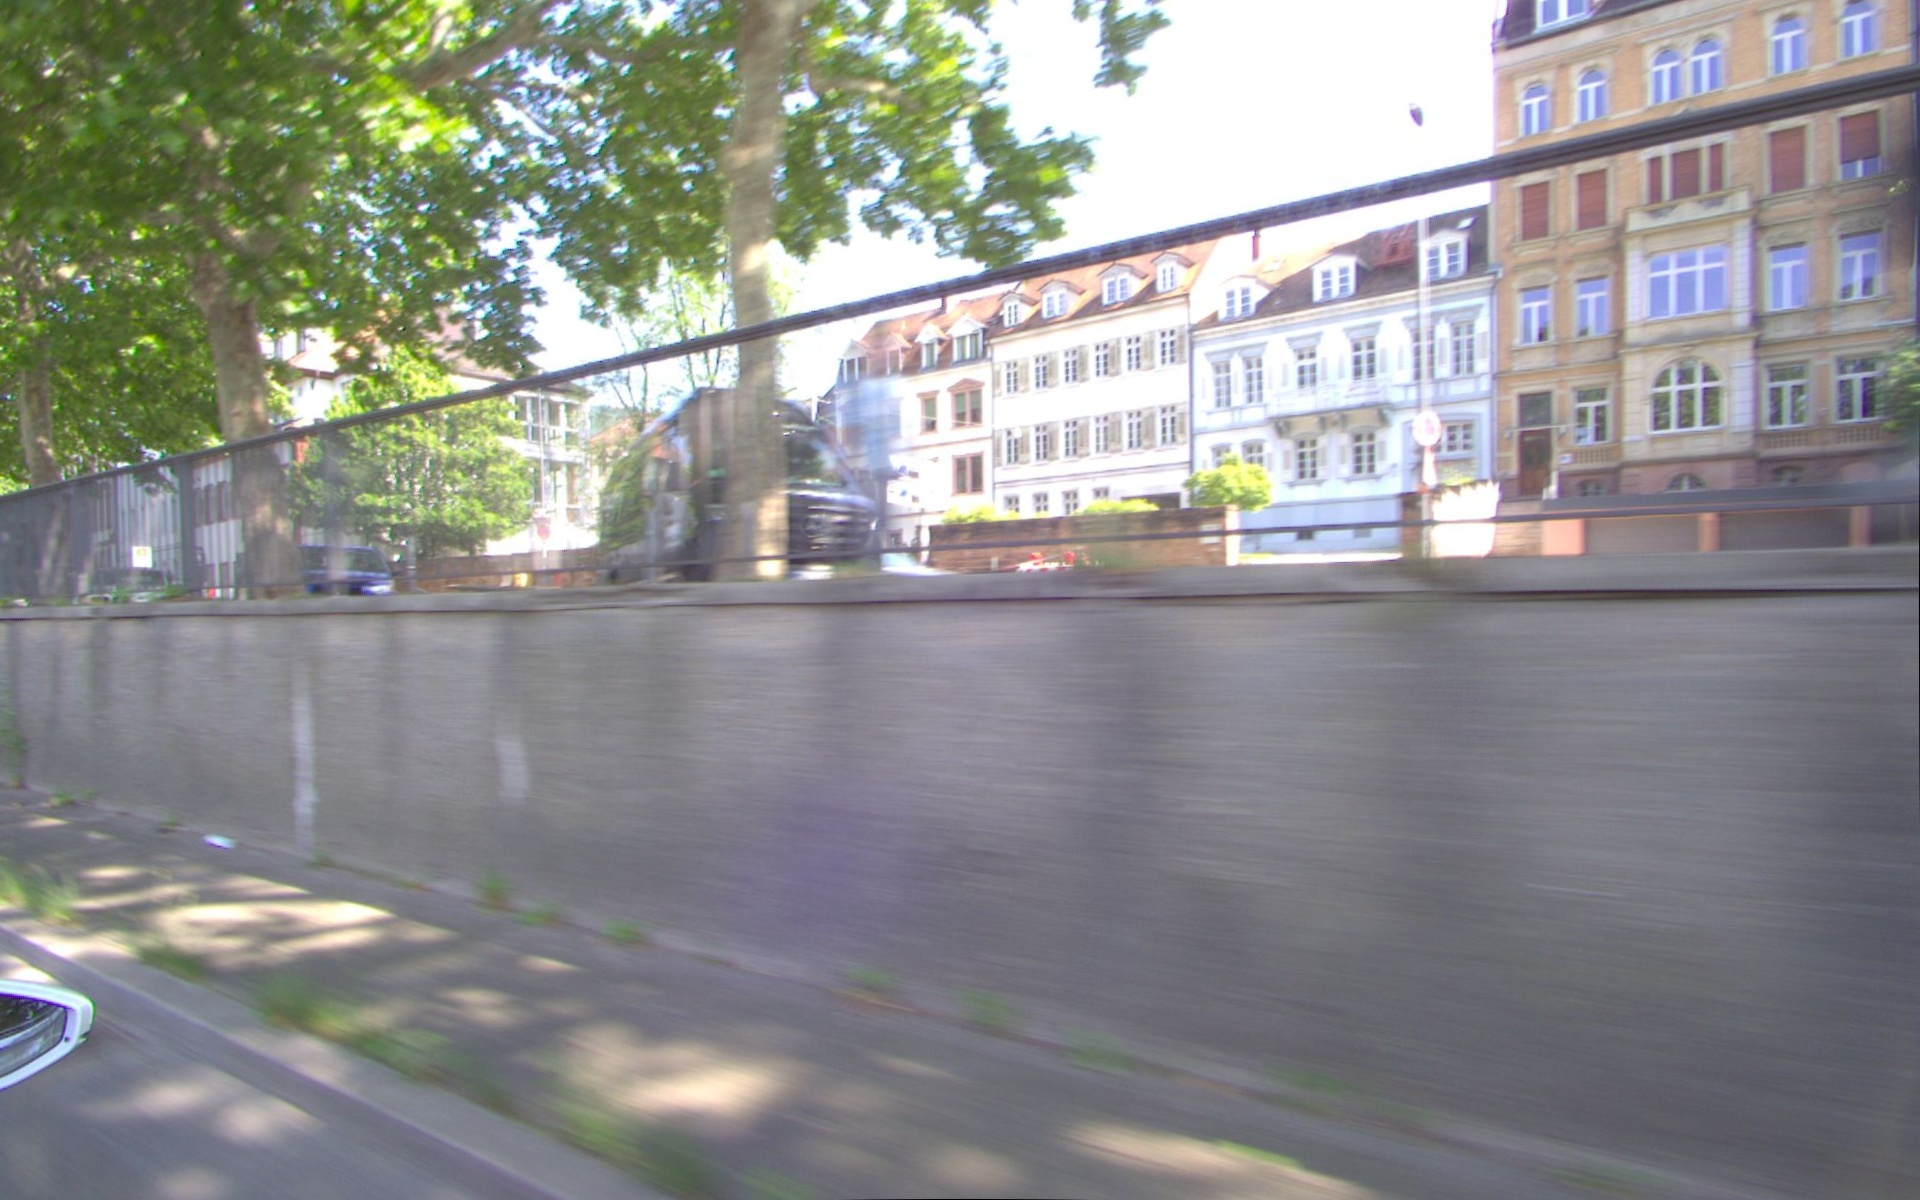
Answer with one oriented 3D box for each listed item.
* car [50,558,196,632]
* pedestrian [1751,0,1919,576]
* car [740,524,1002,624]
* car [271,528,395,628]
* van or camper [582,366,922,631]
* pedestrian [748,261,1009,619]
[{"bbox_3d":[-18.538,-0.056,22.356,1.754,1.488,3.981,1,-1,-29],"label":"car"},{"bbox_3d":[2.614,-0.880,2.380,1.012,1.601,0.934,0,3,30],"label":"pedestrian"},{"bbox_3d":[-1.610,-0.411,17.433,4.369,1.533,1.831,0,2,35],"label":"car"},{"bbox_3d":[-10.767,-0.289,17.267,1.631,1.520,3.796,0,-1,-32],"label":"car"},{"bbox_3d":[-3.111,-0.807,12.834,2.311,2.210,7.327,2,-3,-28],"label":"van or camper"},{"bbox_3d":[-0.365,-0.654,4.601,0.935,1.444,0.678,0,3,32],"label":"pedestrian"}]
